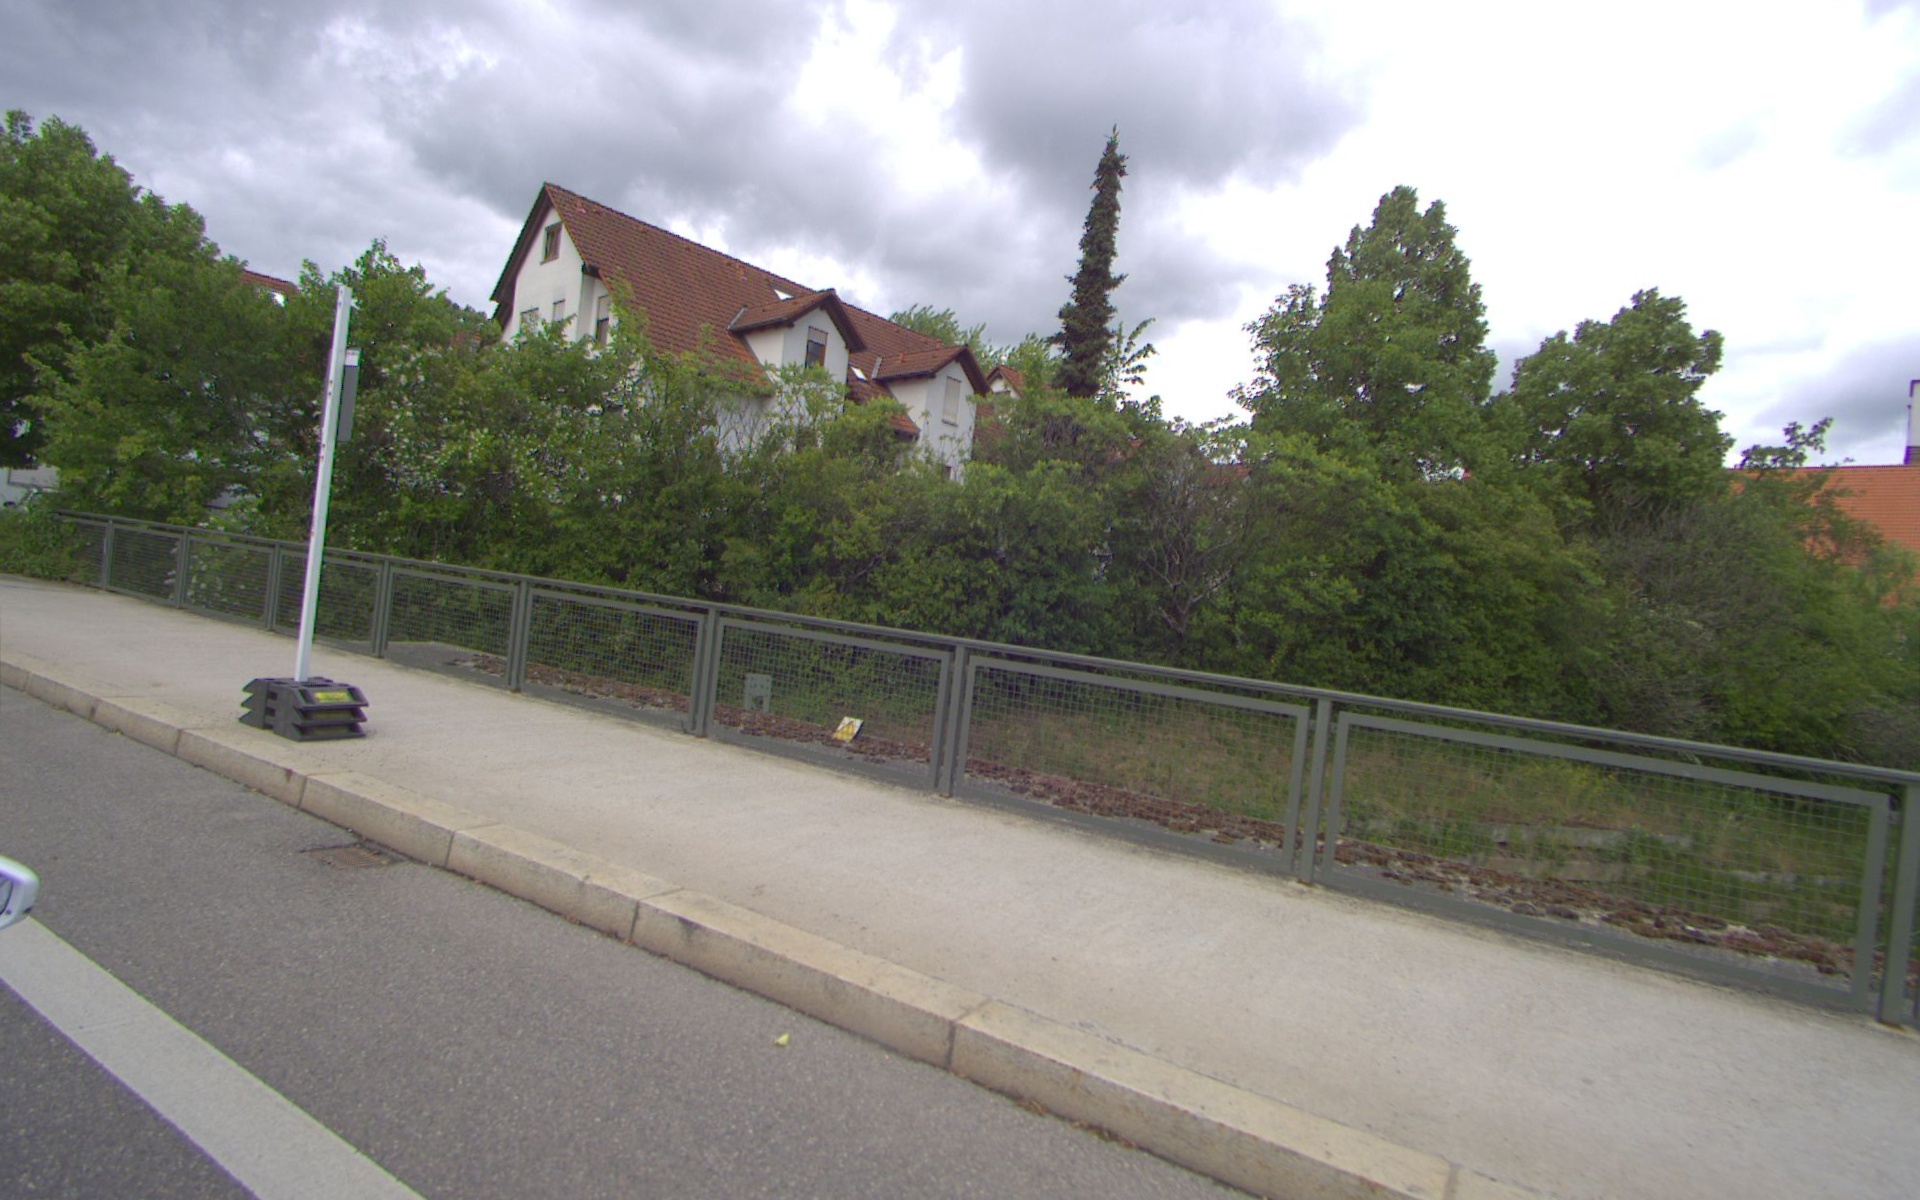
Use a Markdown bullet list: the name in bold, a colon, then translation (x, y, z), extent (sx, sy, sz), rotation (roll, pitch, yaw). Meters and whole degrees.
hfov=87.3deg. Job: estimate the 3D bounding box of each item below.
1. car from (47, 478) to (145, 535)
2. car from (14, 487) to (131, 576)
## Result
- **car**: translation (-27.343, -2.983, 31.794), extent (3.942, 1.468, 1.665), rotation (7, 1, 40)
- **car**: translation (-19.889, -1.562, 22.490), extent (1.666, 1.523, 4.007), rotation (7, 1, -44)
